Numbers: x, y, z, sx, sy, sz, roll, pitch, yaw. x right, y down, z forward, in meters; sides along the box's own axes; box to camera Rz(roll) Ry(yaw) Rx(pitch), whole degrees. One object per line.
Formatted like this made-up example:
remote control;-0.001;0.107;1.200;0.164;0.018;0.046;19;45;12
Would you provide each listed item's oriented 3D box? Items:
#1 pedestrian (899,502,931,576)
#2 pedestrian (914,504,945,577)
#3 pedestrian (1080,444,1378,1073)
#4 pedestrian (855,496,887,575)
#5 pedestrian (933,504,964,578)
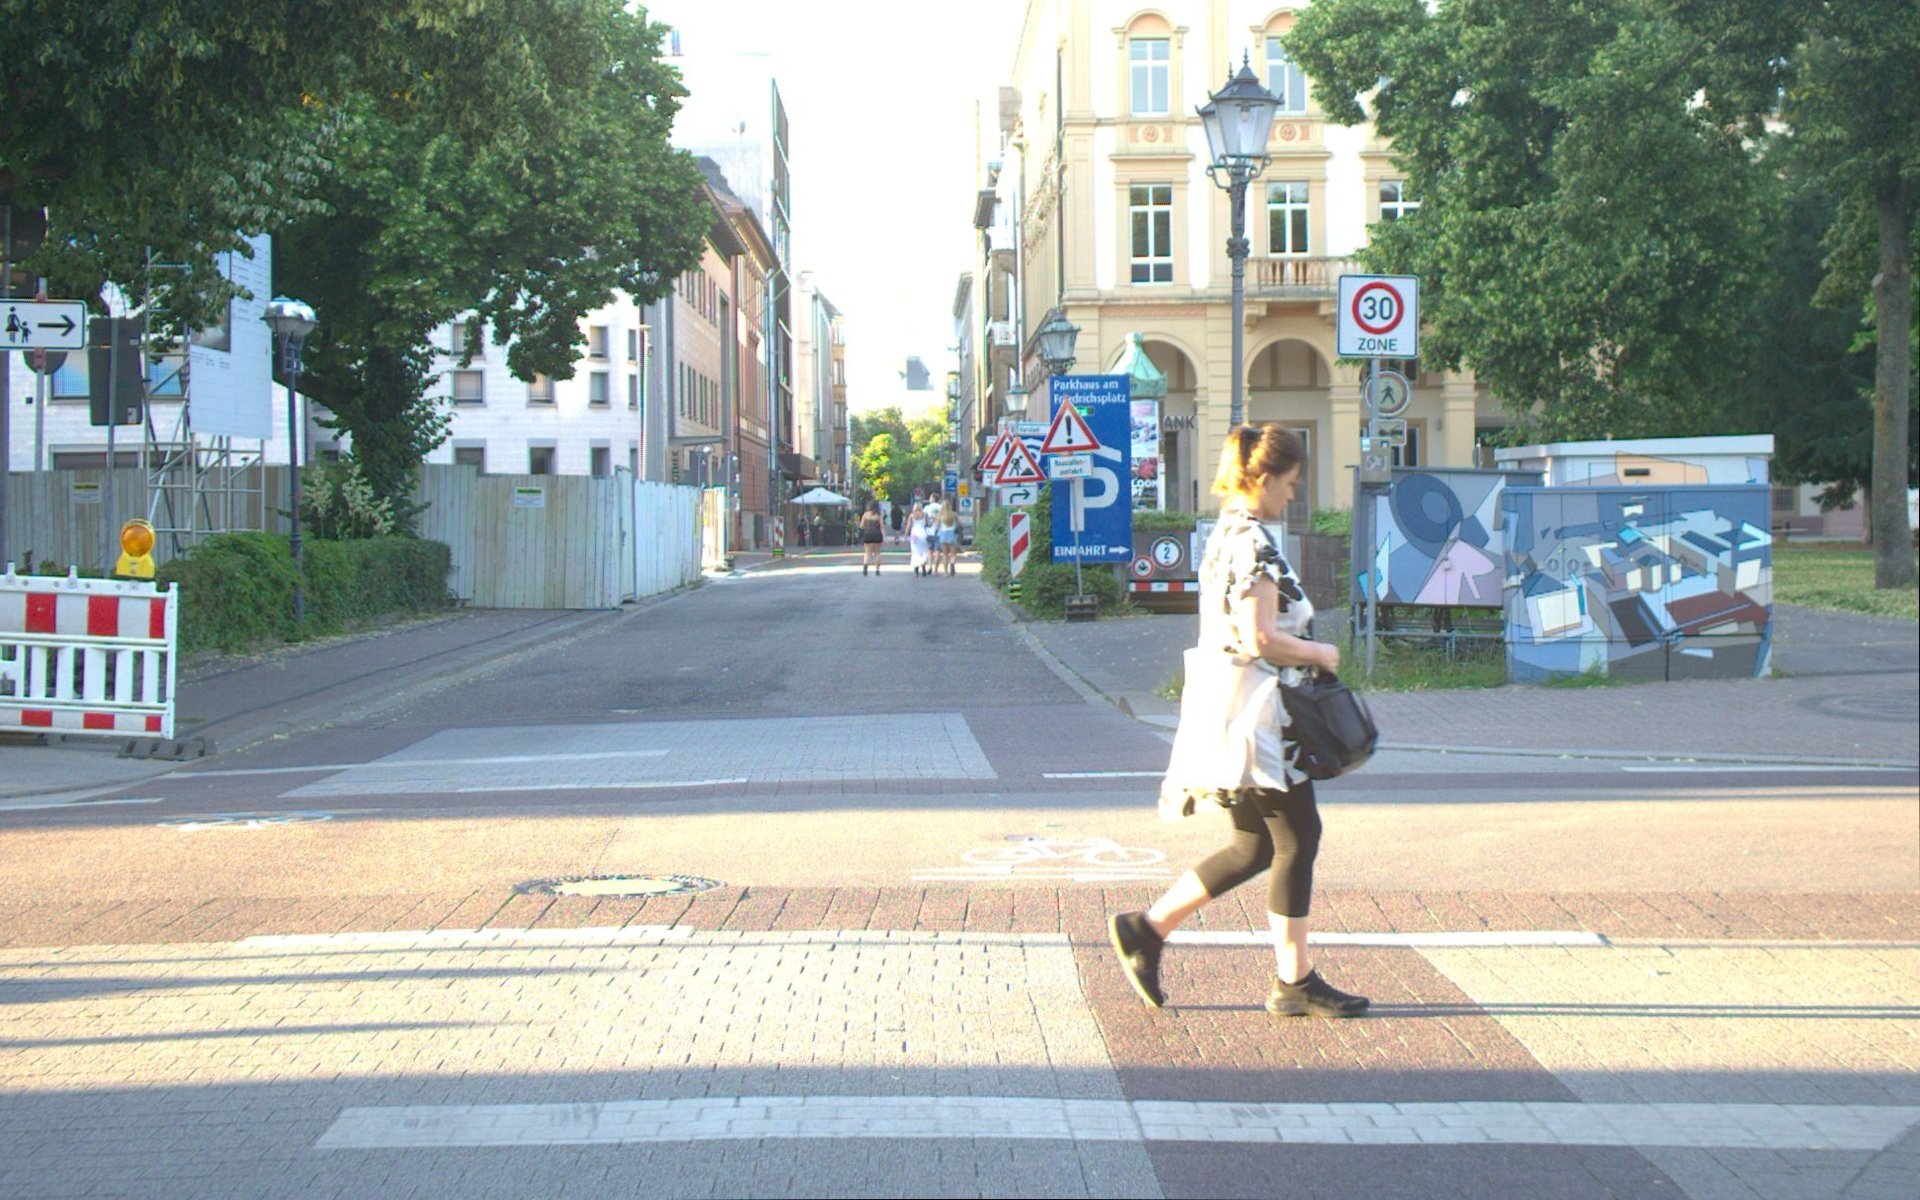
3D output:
pedestrian;-0.989;-1.345;75.739;0.657;1.611;0.745;-1;1;0
pedestrian;-0.690;-1.340;77.161;0.657;1.630;0.745;-1;1;0
pedestrian;0.739;0.417;9.675;0.734;1.683;0.836;-1;1;-1
pedestrian;-1.988;-1.451;77.018;0.657;1.754;0.745;-1;1;0
pedestrian;-0.260;-1.300;75.784;0.657;1.611;0.745;-1;1;0
